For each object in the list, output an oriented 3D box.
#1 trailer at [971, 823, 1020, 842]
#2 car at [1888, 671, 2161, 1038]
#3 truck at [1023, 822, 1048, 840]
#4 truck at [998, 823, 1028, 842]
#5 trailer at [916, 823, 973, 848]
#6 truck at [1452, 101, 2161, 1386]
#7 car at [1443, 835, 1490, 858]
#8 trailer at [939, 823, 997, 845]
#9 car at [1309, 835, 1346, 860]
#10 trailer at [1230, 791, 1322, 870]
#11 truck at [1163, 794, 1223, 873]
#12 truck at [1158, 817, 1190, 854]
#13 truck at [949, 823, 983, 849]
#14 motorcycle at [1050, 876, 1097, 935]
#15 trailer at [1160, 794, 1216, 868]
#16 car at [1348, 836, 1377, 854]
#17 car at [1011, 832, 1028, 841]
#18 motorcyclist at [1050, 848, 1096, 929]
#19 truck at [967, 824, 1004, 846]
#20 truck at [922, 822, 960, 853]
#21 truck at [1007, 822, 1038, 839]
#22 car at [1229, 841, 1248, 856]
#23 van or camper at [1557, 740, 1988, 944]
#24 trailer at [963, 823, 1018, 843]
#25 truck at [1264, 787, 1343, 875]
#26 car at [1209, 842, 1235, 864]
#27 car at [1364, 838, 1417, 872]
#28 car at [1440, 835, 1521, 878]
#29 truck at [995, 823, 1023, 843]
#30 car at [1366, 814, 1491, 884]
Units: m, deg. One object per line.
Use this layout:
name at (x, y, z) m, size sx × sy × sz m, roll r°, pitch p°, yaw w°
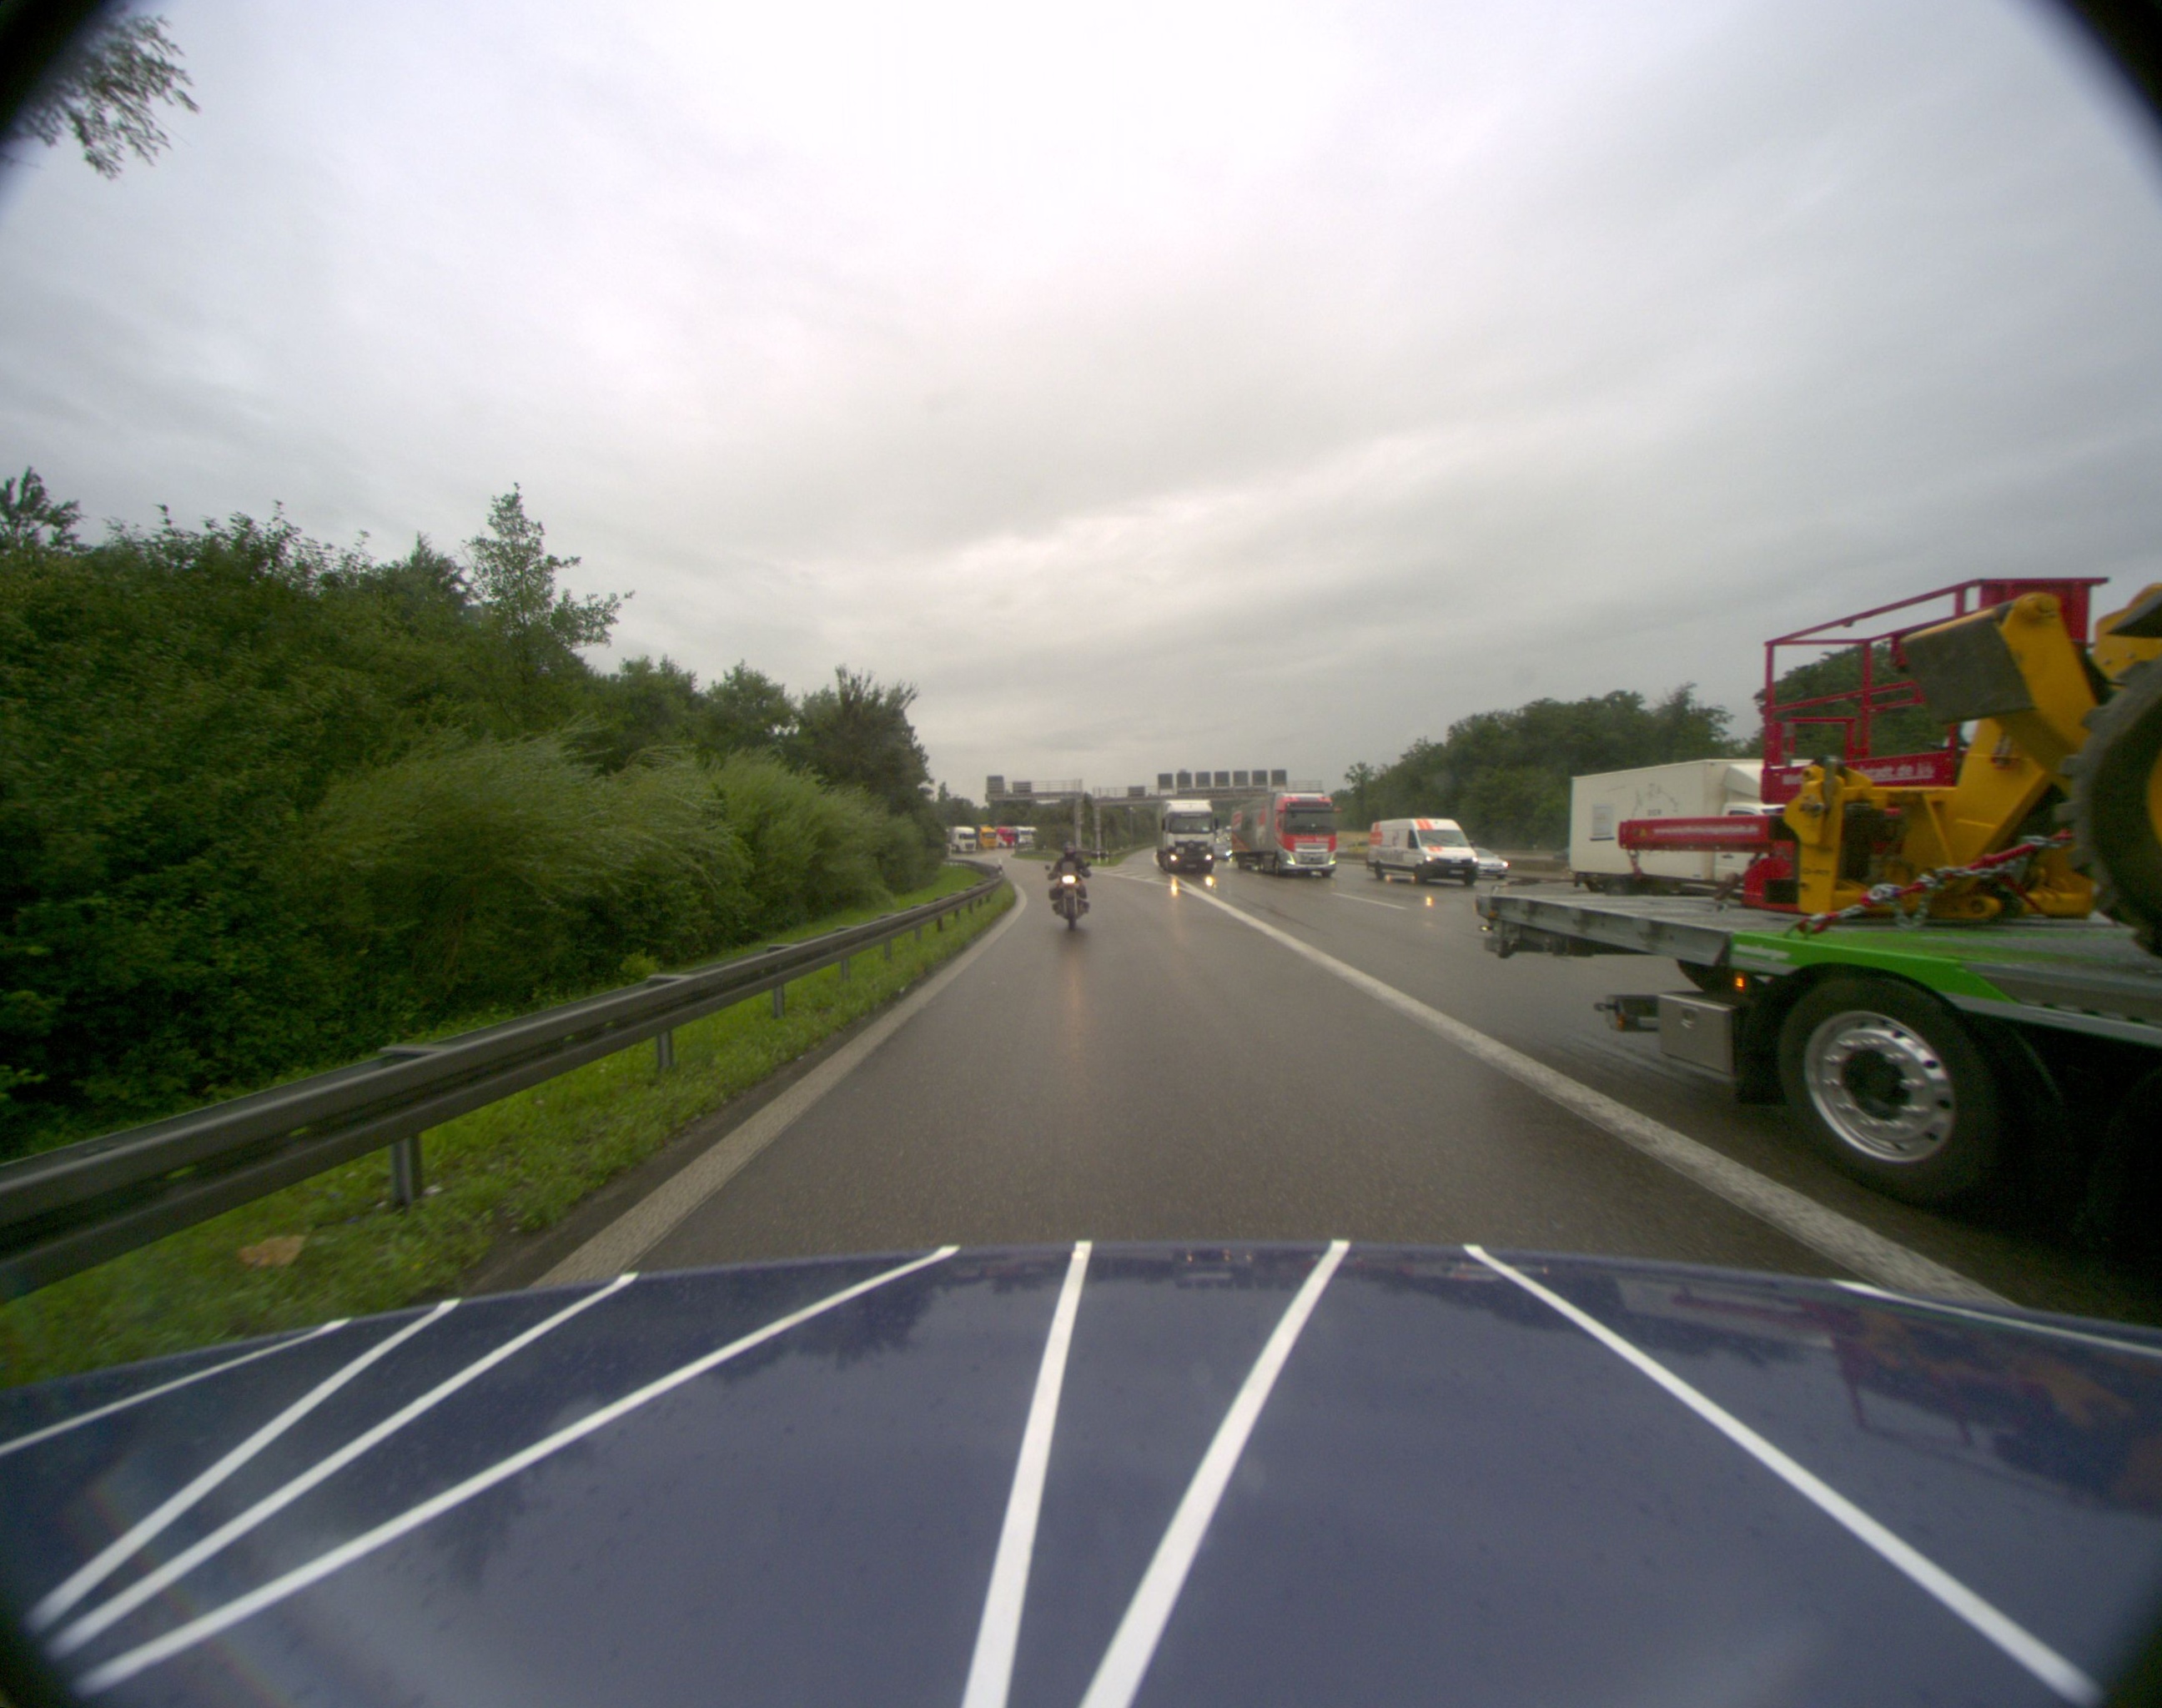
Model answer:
trailer at (-18.352, -4.603, 161.636) m, size 2.881 × 3.898 × 13.894 m, roll -3°, pitch 3°, yaw -41°
car at (8.738, 0.017, 4.361) m, size 2.220 × 2.615 × 5.844 m, roll -1°, pitch 1°, yaw 4°
truck at (-11.452, -5.778, 189.635) m, size 3.252 × 4.363 × 5.796 m, roll -4°, pitch 3°, yaw -41°
truck at (-14.100, -4.411, 156.837) m, size 2.905 × 3.898 × 6.536 m, roll -3°, pitch 3°, yaw -41°
trailer at (-22.672, -3.103, 125.267) m, size 2.849 × 3.898 × 13.914 m, roll -3°, pitch 3°, yaw -39°
truck at (4.350, -0.279, 0.573) m, size 2.837 × 3.568 × 11.797 m, roll 0°, pitch 1°, yaw 3°
car at (30.504, -0.602, 60.267) m, size 1.846 × 1.668 × 4.000 m, roll -3°, pitch 1°, yaw 4°
trailer at (-21.522, -3.813, 143.544) m, size 2.874 × 3.898 × 16.585 m, roll -3°, pitch 3°, yaw -38°
car at (19.887, -0.532, 61.428) m, size 1.762 × 1.762 × 3.999 m, roll -4°, pitch 2°, yaw 3°
trailer at (10.897, -1.290, 44.149) m, size 2.633 × 3.842 × 13.676 m, roll -1°, pitch 1°, yaw 4°
truck at (6.174, -1.148, 42.881) m, size 2.924 × 4.076 × 6.719 m, roll -1°, pitch 2°, yaw 5°
truck at (11.586, -2.464, 95.232) m, size 3.354 × 4.048 × 12.572 m, roll -4°, pitch 2°, yaw 7°
truck at (-18.220, -2.881, 119.799) m, size 2.836 × 3.891 × 5.395 m, roll -3°, pitch 3°, yaw -40°
motorcycle at (-0.171, 1.024, 15.761) m, size 0.878 × 1.016 × 2.352 m, roll -1°, pitch 1°, yaw -1°
trailer at (6.737, -1.508, 49.798) m, size 2.924 × 4.182 × 13.636 m, roll -1°, pitch 2°, yaw 5°
car at (33.525, -1.045, 90.682) m, size 1.998 × 2.002 × 4.738 m, roll -2°, pitch 1°, yaw 5°
car at (-14.160, -4.020, 174.399) m, size 1.851 × 1.848 × 3.988 m, roll -4°, pitch 3°, yaw -39°
motorcyclist at (-0.171, 0.669, 15.632) m, size 0.878 × 1.559 × 1.372 m, roll -1°, pitch 2°, yaw -1°
truck at (-17.424, -3.550, 138.292) m, size 2.845 × 3.898 × 8.107 m, roll -3°, pitch 3°, yaw -38°
truck at (-19.277, -2.343, 104.460) m, size 2.832 × 4.123 × 5.287 m, roll -3°, pitch 4°, yaw -39°
truck at (-13.977, -5.582, 180.991) m, size 3.252 × 4.069 × 7.915 m, roll -3°, pitch 3°, yaw -41°
car at (18.207, -0.642, 88.043) m, size 1.997 × 1.660 × 4.184 m, roll -2°, pitch 1°, yaw 9°
van or camper at (13.141, -0.258, 15.577) m, size 2.585 × 3.186 × 7.130 m, roll -1°, pitch 1°, yaw 3°
trailer at (-18.874, -4.339, 156.941) m, size 3.252 × 3.898 × 14.786 m, roll -3°, pitch 3°, yaw -41°
truck at (10.394, -1.063, 35.976) m, size 2.633 × 3.842 × 4.589 m, roll -1°, pitch 1°, yaw 3°
car at (12.787, -0.116, 69.262) m, size 1.762 × 1.762 × 3.999 m, roll -4°, pitch 2°, yaw 4°
car at (18.531, 0.011, 45.706) m, size 1.754 × 1.762 × 3.999 m, roll -4°, pitch 2°, yaw 5°
car at (18.189, 0.086, 34.787) m, size 1.760 × 1.818 × 3.735 m, roll -2°, pitch 1°, yaw 1°
truck at (-14.409, -4.160, 151.905) m, size 3.252 × 3.898 × 5.007 m, roll -3°, pitch 3°, yaw -42°
car at (13.752, -0.263, 30.733) m, size 2.153 × 2.474 × 7.366 m, roll -1°, pitch 1°, yaw 4°
